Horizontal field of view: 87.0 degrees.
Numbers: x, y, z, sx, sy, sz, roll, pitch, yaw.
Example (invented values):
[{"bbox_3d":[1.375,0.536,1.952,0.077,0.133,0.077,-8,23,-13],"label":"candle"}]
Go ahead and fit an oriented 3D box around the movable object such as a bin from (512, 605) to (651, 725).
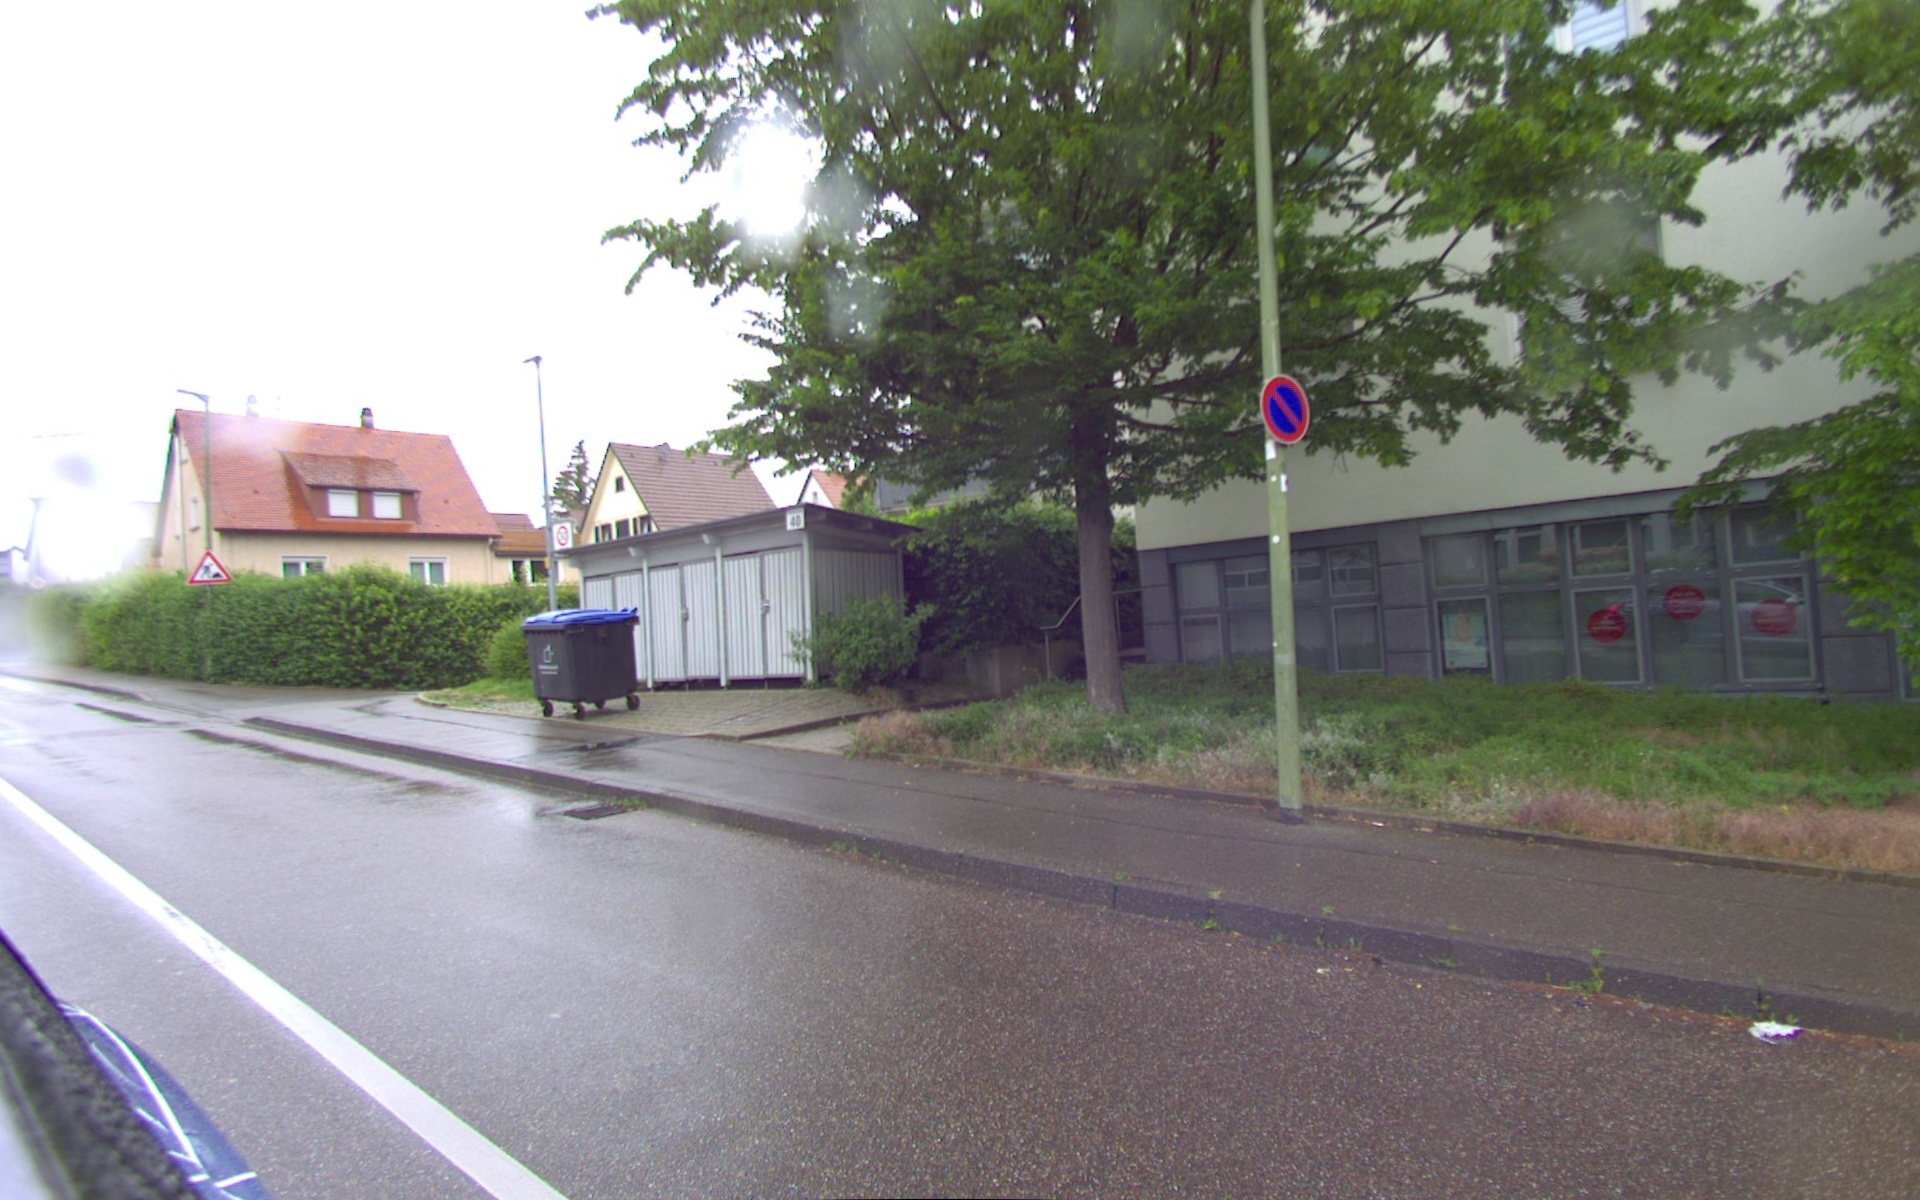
[{"bbox_3d":[-4.754,0.788,12.718,1.317,1.357,1.061,-2,1,39],"label":"movable object such as a bin"}]
